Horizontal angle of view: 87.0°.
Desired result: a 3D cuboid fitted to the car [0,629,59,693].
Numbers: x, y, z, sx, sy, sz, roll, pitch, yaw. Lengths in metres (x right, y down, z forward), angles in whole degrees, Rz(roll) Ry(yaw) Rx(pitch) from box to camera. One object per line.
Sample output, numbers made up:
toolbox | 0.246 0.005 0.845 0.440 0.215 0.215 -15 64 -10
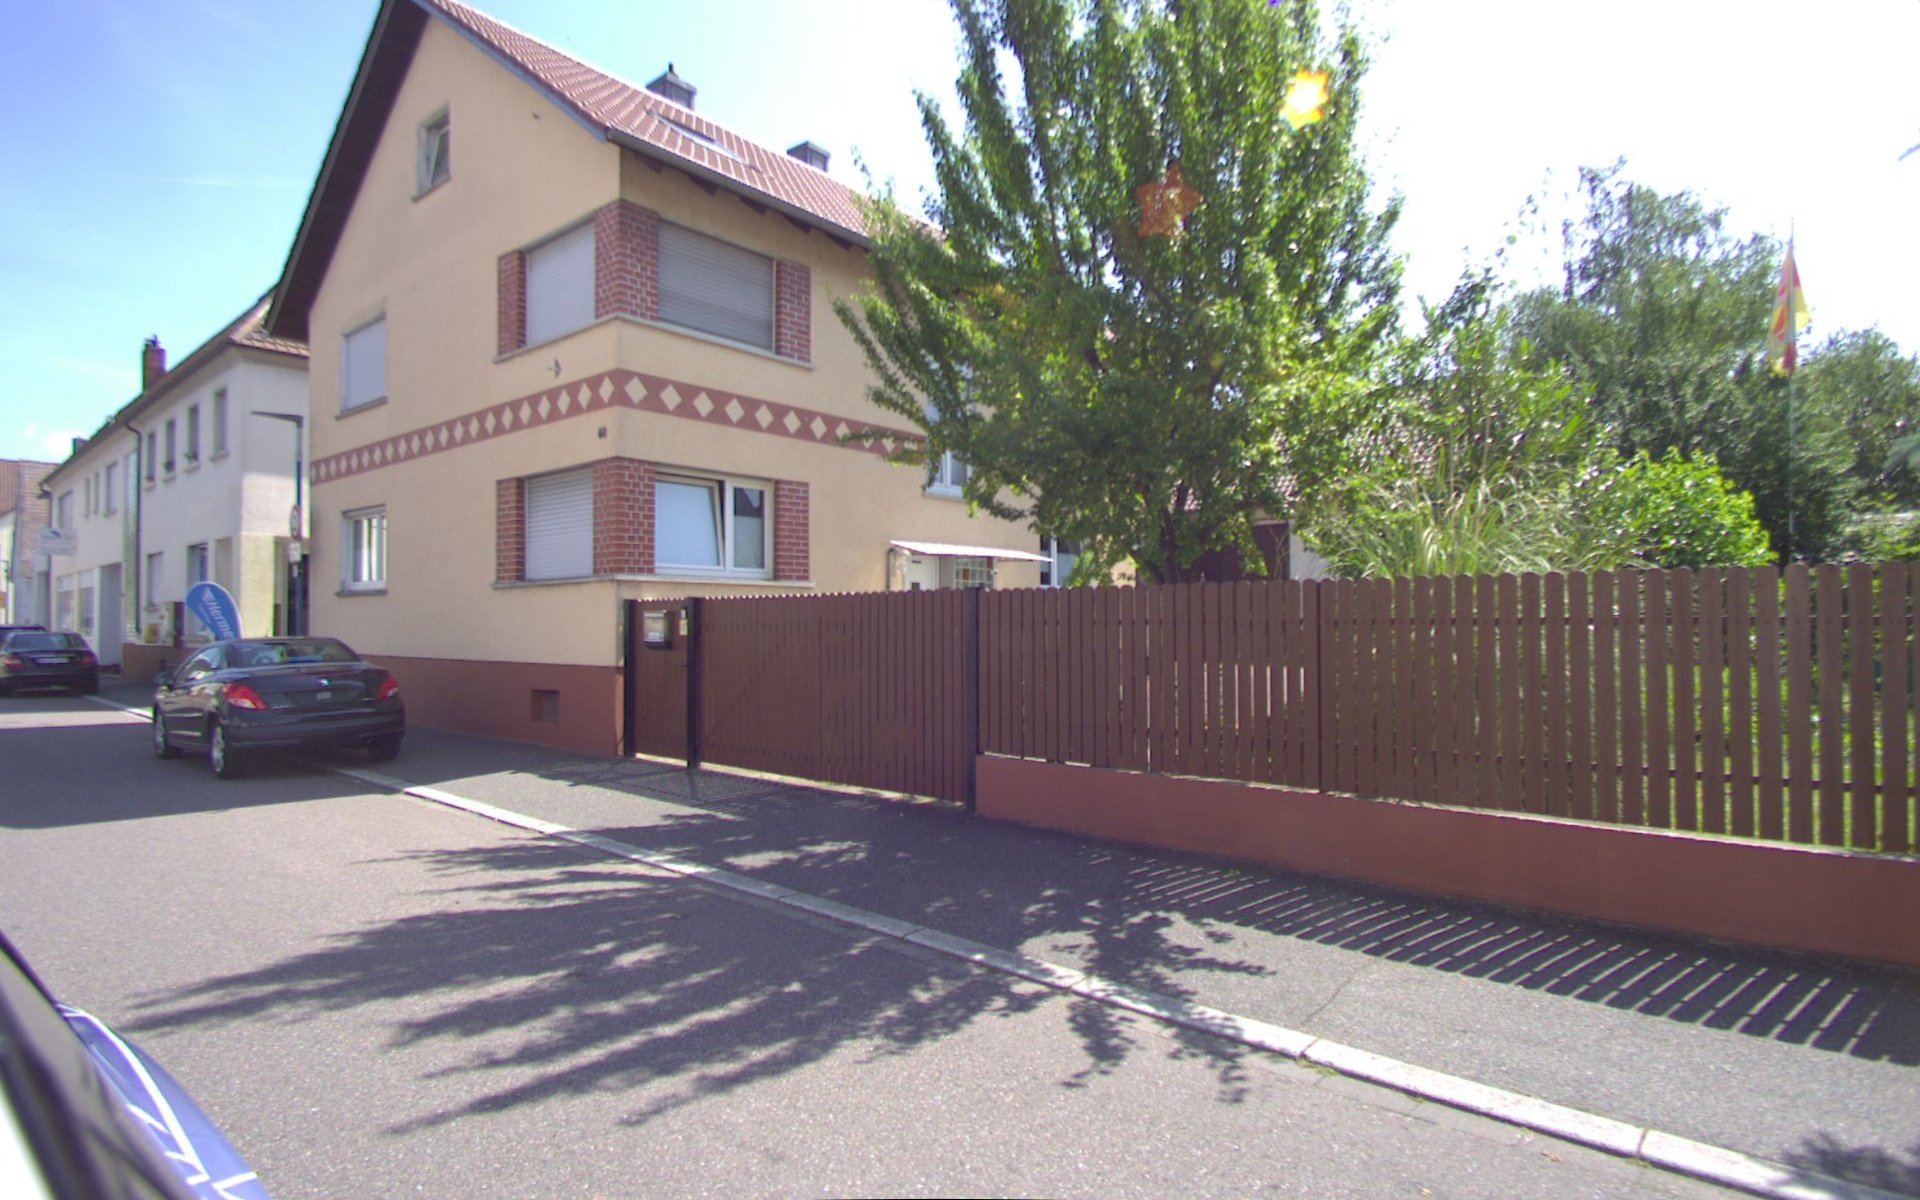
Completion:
car | -26.282 1.644 27.811 4.146 1.652 1.699 -2 -4 41

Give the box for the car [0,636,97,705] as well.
car | -21.449 1.564 23.454 4.389 1.422 1.679 -2 -2 42

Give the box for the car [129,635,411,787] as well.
car | -7.978 1.117 11.557 4.065 1.384 1.743 -2 -1 42
